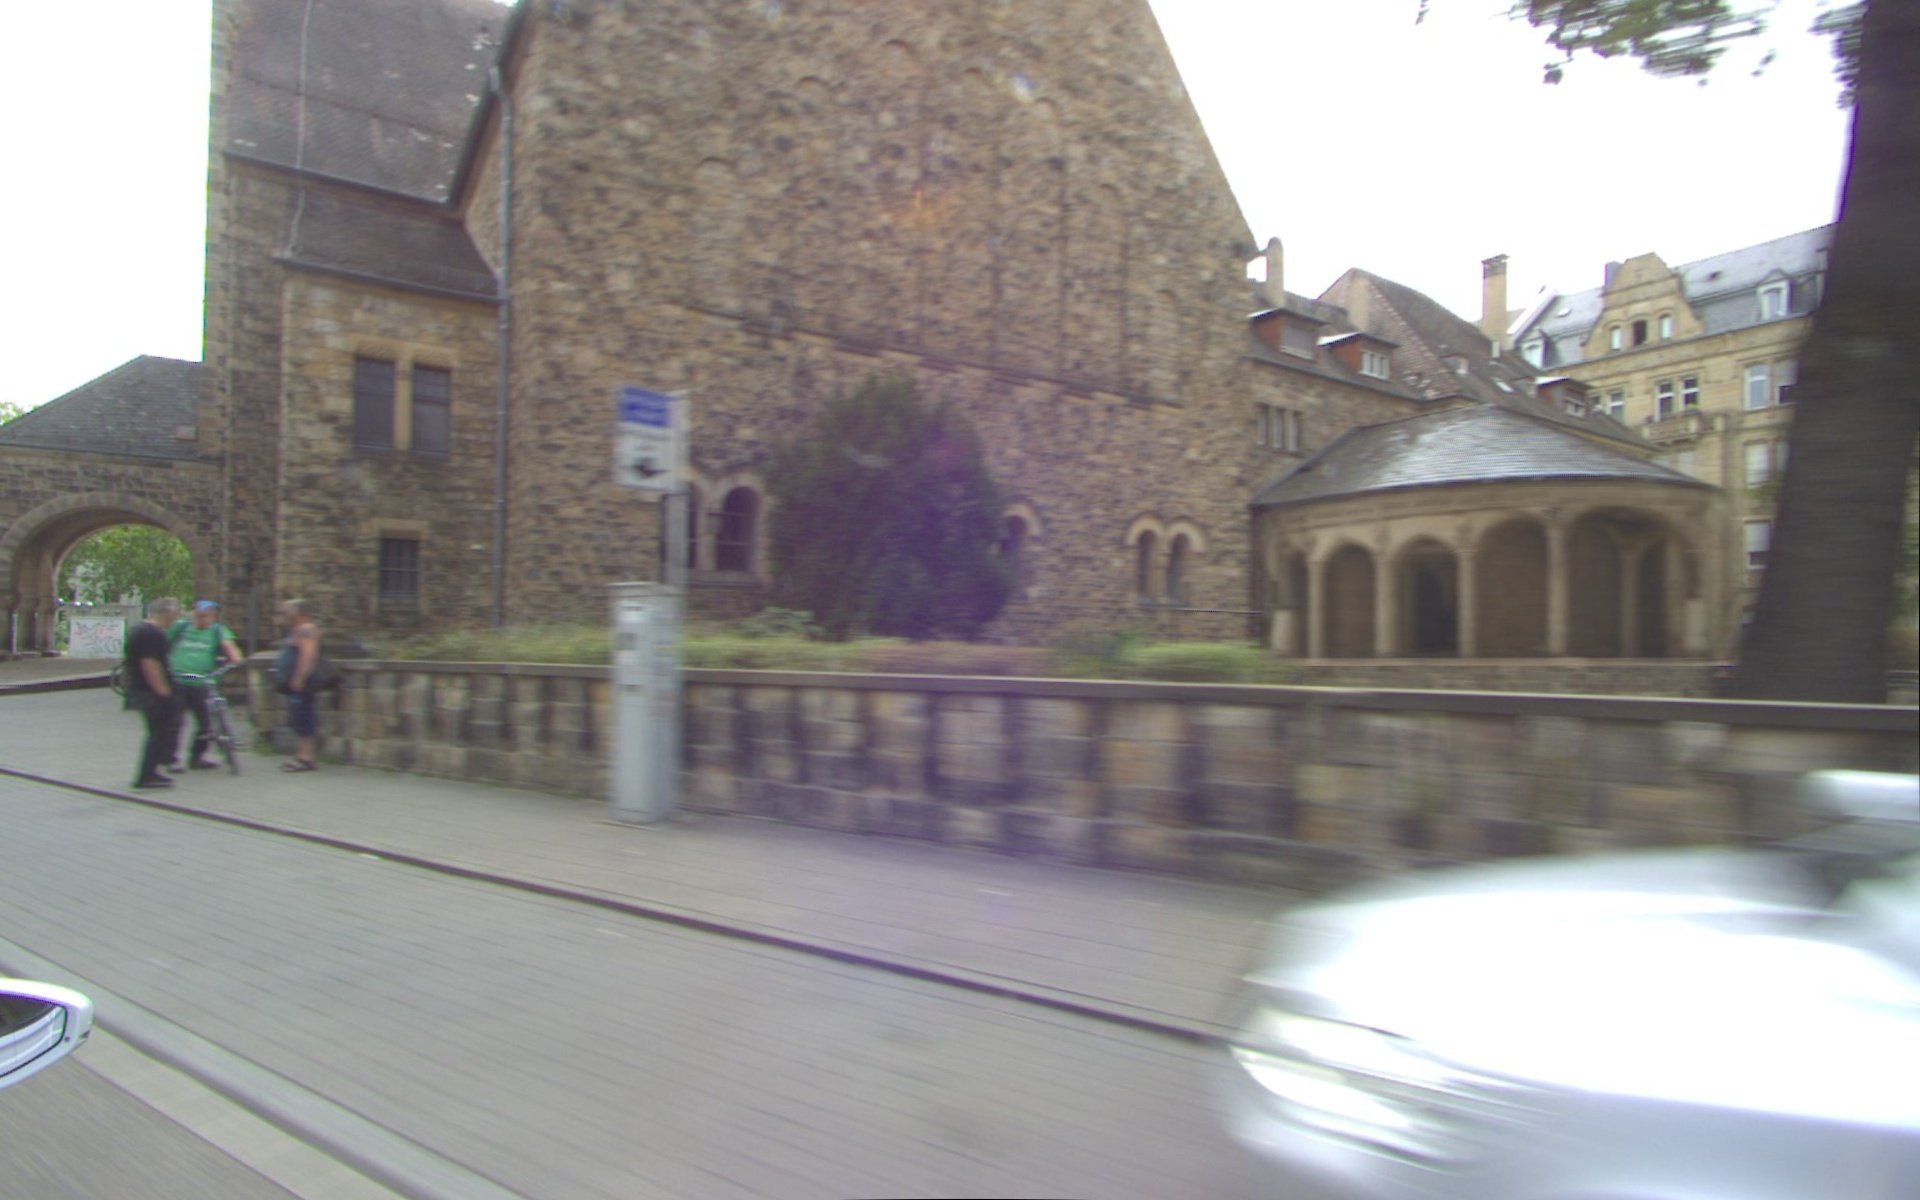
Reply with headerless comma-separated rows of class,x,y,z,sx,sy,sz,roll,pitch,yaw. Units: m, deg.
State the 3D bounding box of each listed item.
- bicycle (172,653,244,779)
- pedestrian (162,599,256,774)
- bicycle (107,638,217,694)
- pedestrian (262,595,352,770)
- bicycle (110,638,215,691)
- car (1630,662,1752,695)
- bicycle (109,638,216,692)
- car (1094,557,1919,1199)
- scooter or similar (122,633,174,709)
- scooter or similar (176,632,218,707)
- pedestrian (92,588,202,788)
bicycle,-7.707,1.138,10.275,0.528,1.164,1.740,2,-3,-37
pedestrian,-7.701,0.870,10.287,0.499,1.741,0.532,0,-2,10
bicycle,-16.660,1.360,20.943,1.762,1.126,0.541,2,-2,-39
pedestrian,-6.691,0.832,10.274,0.521,1.741,0.509,0,-2,11
bicycle,-17.433,1.394,21.935,1.762,1.126,0.541,2,-2,-39
car,32.762,3.518,45.014,1.613,1.395,4.137,3,-5,-27
bicycle,-17.051,1.378,21.456,1.755,1.126,0.541,2,-2,-39
car,2.531,0.716,1.310,4.354,1.487,1.753,-1,-2,31
scooter or similar,-13.695,1.171,16.871,0.541,1.222,1.428,2,-2,-44
scooter or similar,-13.127,1.171,17.234,0.539,1.222,1.470,1,-2,-38
pedestrian,-7.332,0.777,9.045,0.521,1.741,0.509,0,-2,10
